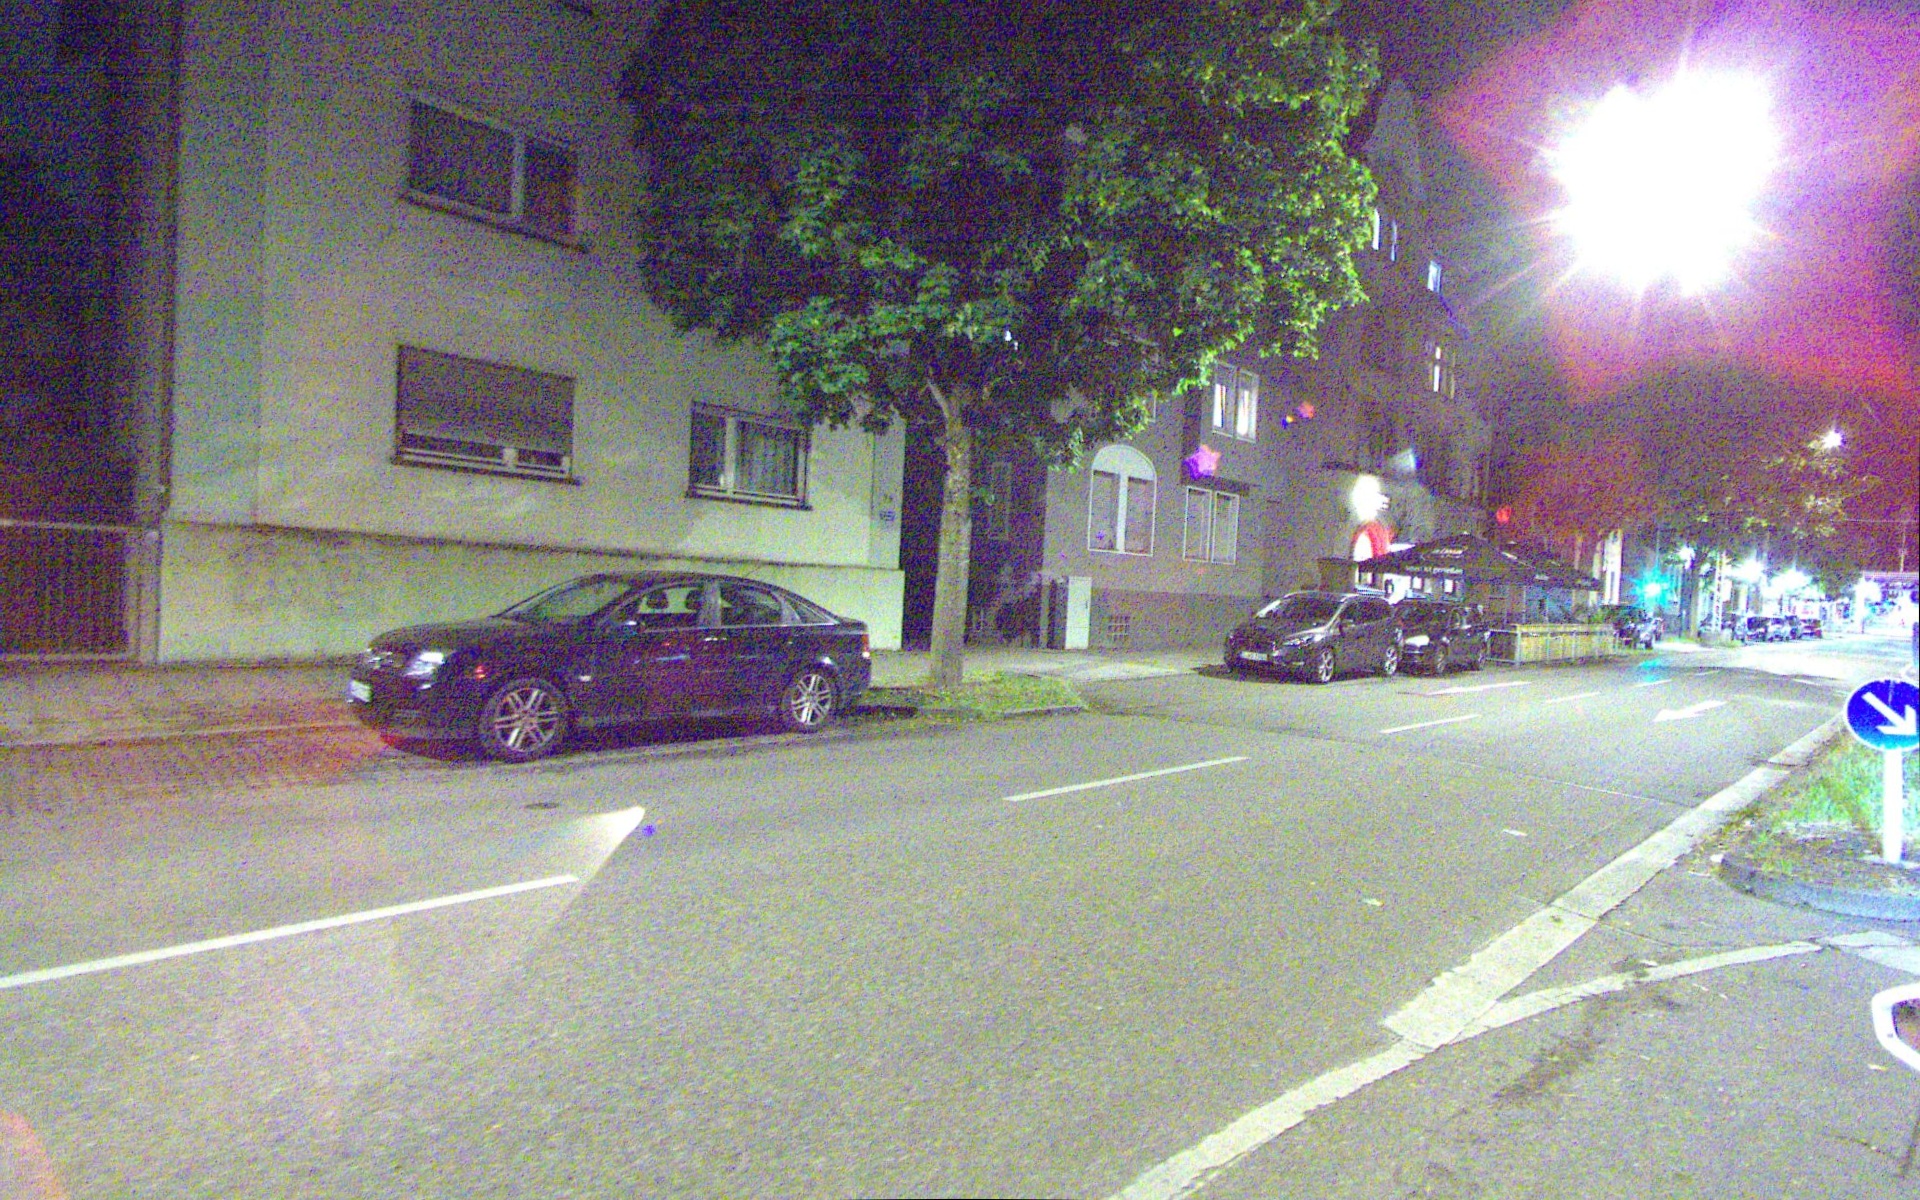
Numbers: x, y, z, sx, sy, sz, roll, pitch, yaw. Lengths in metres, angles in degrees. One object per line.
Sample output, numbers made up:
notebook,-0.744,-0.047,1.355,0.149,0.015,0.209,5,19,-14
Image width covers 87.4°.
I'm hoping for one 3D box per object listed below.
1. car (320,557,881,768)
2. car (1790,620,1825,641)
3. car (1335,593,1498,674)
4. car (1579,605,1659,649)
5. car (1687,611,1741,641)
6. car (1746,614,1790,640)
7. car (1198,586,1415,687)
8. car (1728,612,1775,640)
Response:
car,-2.878,0.438,8.879,1.604,1.401,4.427,3,1,42
car,64.067,2.280,75.917,3.974,1.450,1.635,1,1,-45
car,9.900,0.697,21.606,1.785,1.501,4.296,4,1,44
car,24.115,0.965,36.719,3.974,1.450,1.635,1,1,-45
car,39.133,1.340,52.104,3.974,1.450,1.635,1,1,-45
car,49.718,1.666,61.772,3.974,1.450,1.635,1,1,-45
car,6.351,0.594,18.141,4.422,1.491,1.880,1,4,-45
car,45.288,1.493,57.445,3.974,1.450,1.635,1,1,-45
